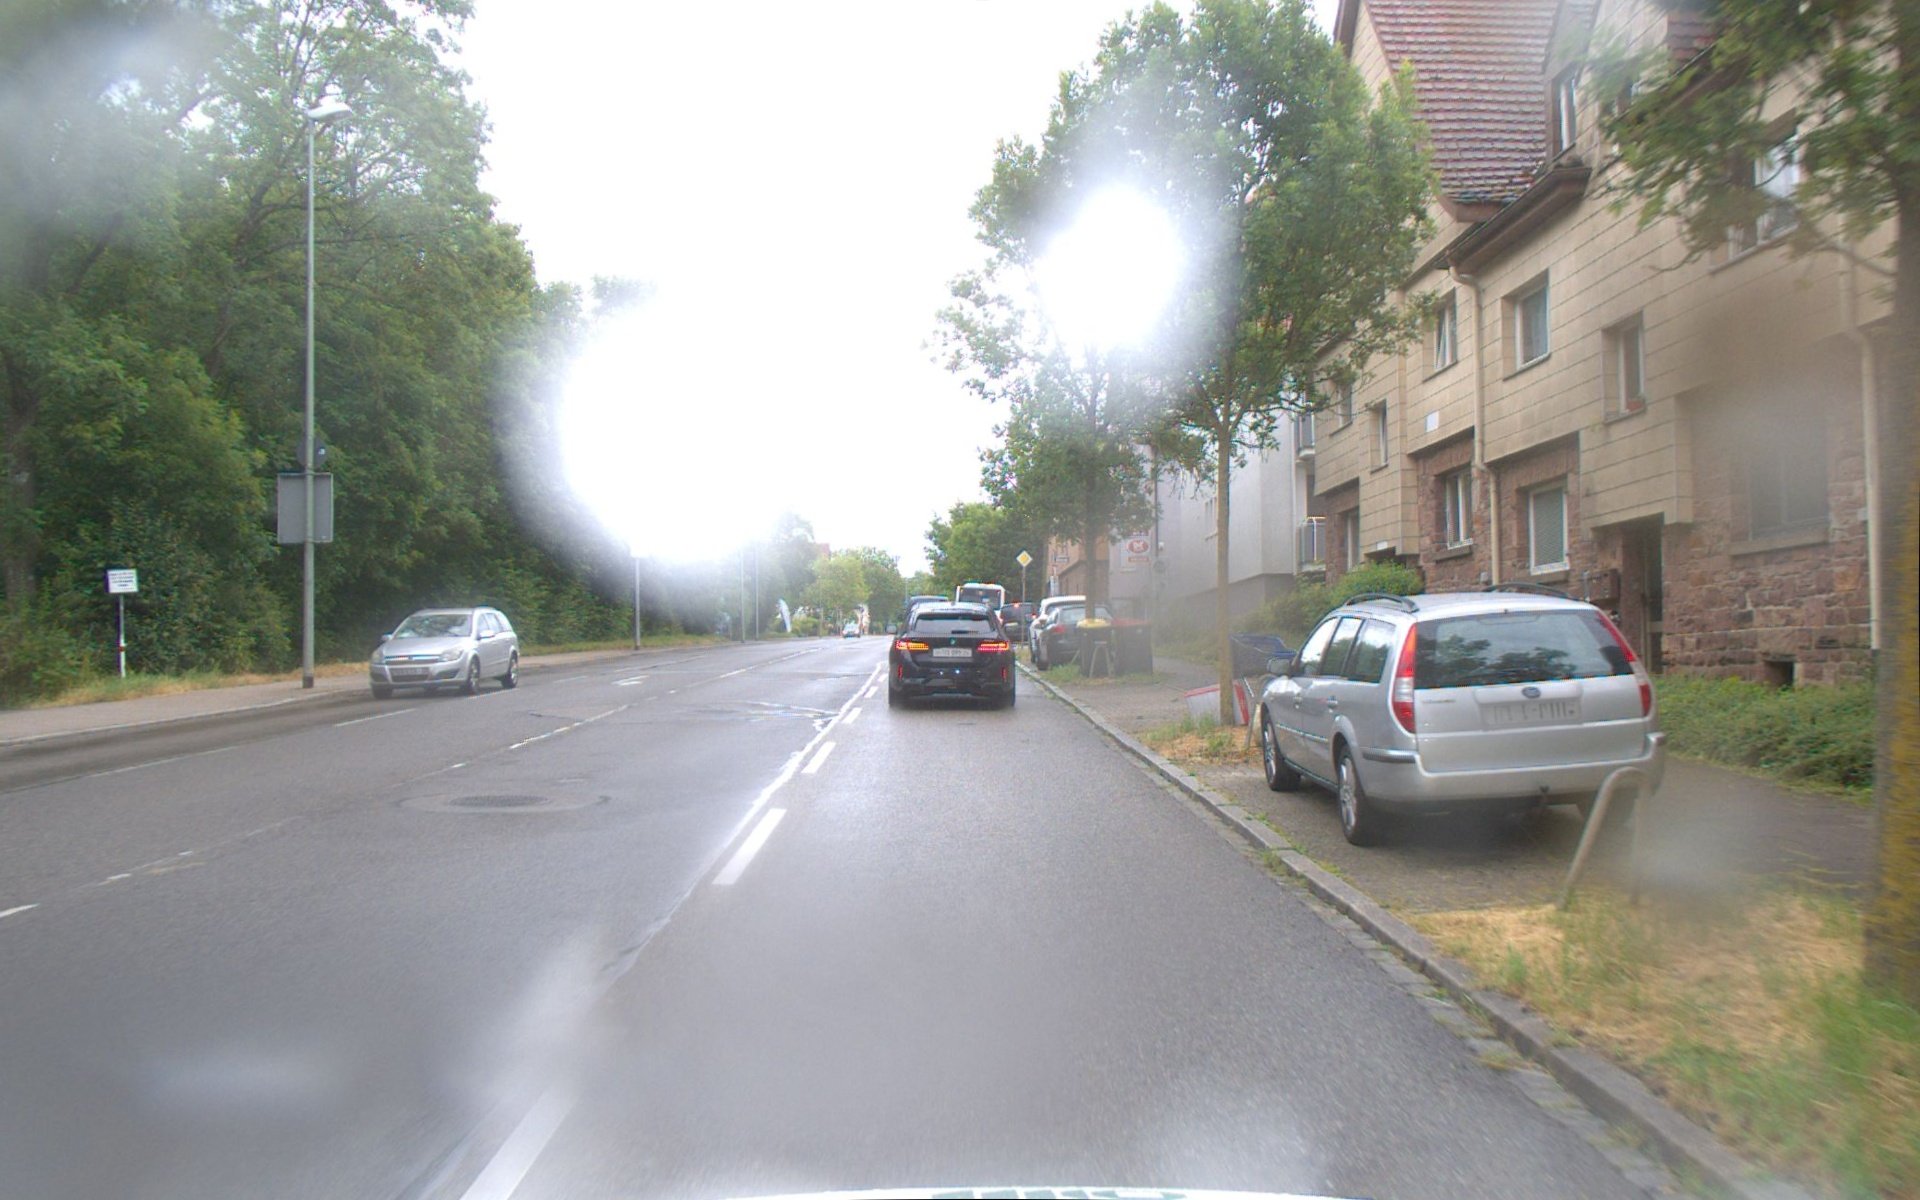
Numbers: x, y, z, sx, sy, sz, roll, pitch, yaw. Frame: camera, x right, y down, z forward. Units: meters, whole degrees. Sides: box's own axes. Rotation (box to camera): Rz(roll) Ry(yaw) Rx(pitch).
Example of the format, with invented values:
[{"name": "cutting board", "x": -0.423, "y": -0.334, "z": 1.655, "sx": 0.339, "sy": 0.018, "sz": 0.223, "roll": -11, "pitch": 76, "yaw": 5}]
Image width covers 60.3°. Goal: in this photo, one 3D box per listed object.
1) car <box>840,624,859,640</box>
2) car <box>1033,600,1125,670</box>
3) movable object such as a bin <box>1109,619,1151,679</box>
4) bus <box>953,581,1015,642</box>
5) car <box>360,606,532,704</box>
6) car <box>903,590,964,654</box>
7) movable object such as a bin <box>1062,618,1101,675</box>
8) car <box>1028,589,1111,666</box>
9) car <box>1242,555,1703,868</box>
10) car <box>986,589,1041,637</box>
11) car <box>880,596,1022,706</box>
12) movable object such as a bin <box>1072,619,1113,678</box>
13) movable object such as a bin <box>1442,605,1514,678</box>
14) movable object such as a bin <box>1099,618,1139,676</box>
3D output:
[{"name": "car", "x": -11.612, "y": 3.390, "z": 174.106, "sx": 1.734, "sy": 1.560, "sz": 3.999, "roll": -2, "pitch": 0, "yaw": -1}, {"name": "car", "x": 2.625, "y": 0.763, "z": 37.167, "sx": 1.608, "sy": 1.474, "sz": 3.996, "roll": -1, "pitch": 0, "yaw": -2}, {"name": "movable object such as a bin", "x": 3.224, "y": 0.922, "z": 31.381, "sx": 0.607, "sy": 1.068, "sz": 0.822, "roll": -3, "pitch": 0, "yaw": -4}, {"name": "bus", "x": 1.308, "y": 0.558, "z": 85.365, "sx": 2.568, "sy": 2.897, "sz": 8.293, "roll": -2, "pitch": 0, "yaw": 5}, {"name": "car", "x": -8.973, "y": 0.905, "z": 29.246, "sx": 1.655, "sy": 1.508, "sz": 4.451, "roll": -3, "pitch": 0, "yaw": -1}, {"name": "car", "x": -0.862, "y": 0.701, "z": 55.004, "sx": 1.953, "sy": 2.049, "sz": 3.999, "roll": 0, "pitch": 0, "yaw": -1}, {"name": "movable object such as a bin", "x": 2.371, "y": 0.902, "z": 32.280, "sx": 0.607, "sy": 1.068, "sz": 0.822, "roll": -3, "pitch": 0, "yaw": -4}, {"name": "car", "x": 2.757, "y": 0.667, "z": 42.503, "sx": 1.787, "sy": 1.803, "sz": 4.540, "roll": -2, "pitch": 0, "yaw": 0}, {"name": "car", "x": 3.236, "y": 0.585, "z": 11.487, "sx": 1.667, "sy": 1.611, "sz": 4.643, "roll": -4, "pitch": 1, "yaw": 0}, {"name": "car", "x": 2.426, "y": 0.595, "z": 73.858, "sx": 1.886, "sy": 1.925, "sz": 4.764, "roll": -4, "pitch": -2, "yaw": 7}, {"name": "car", "x": -0.126, "y": 0.724, "z": 25.337, "sx": 1.953, "sy": 1.478, "sz": 4.000, "roll": 2, "pitch": 0, "yaw": 0}, {"name": "movable object such as a bin", "x": 2.507, "y": 0.914, "z": 31.384, "sx": 0.607, "sy": 1.068, "sz": 0.822, "roll": -3, "pitch": 0, "yaw": -4}, {"name": "movable object such as a bin", "x": 7.162, "y": 0.564, "z": 22.916, "sx": 0.686, "sy": 0.982, "sz": 0.941, "roll": 1, "pitch": 0, "yaw": -1}, {"name": "movable object such as a bin", "x": 3.094, "y": 0.911, "z": 32.301, "sx": 0.607, "sy": 1.068, "sz": 0.822, "roll": -3, "pitch": 0, "yaw": -4}]
